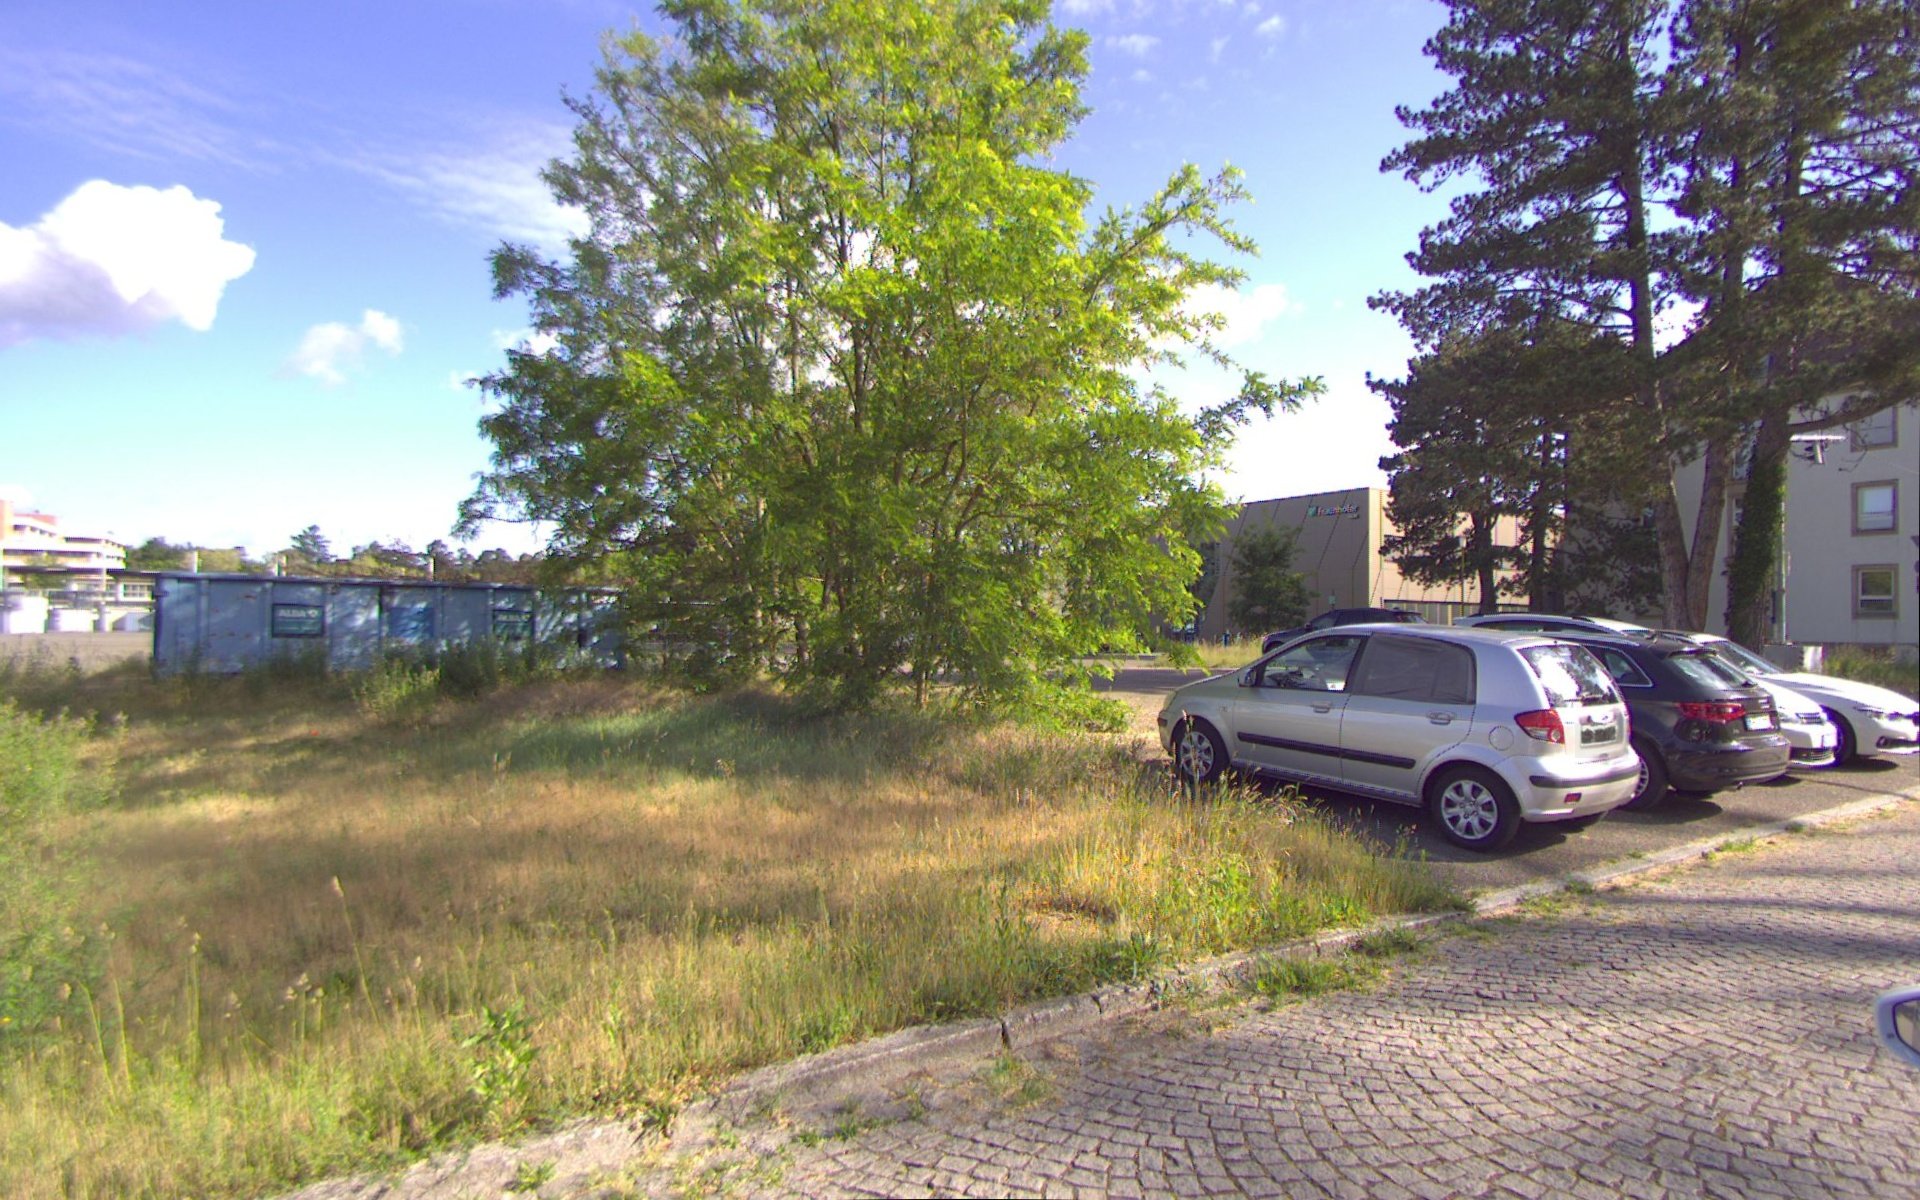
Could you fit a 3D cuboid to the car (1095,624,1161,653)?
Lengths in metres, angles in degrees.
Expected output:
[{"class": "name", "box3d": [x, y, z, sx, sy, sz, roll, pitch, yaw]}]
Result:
[{"class": "car", "box3d": [10.772, 2.462, 64.411, 3.956, 1.802, 1.856, 1, -2, -31]}]

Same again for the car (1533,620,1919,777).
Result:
[{"class": "car", "box3d": [9.857, 1.108, 12.936, 1.750, 1.516, 3.971, 1, 1, -28]}]

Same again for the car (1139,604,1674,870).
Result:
[{"class": "car", "box3d": [3.398, 0.876, 8.258, 1.682, 1.548, 3.661, 1, 1, -35]}]

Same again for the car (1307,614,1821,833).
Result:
[{"class": "car", "box3d": [5.564, 0.976, 9.758, 1.673, 1.464, 3.913, 1, 2, -33]}]

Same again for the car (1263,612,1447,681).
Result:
[{"class": "car", "box3d": [10.132, 1.148, 26.065, 1.987, 1.630, 4.122, 1, -1, -31]}]

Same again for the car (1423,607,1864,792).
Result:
[{"class": "car", "box3d": [7.644, 0.968, 11.602, 1.643, 1.637, 3.856, 1, 1, -33]}]
